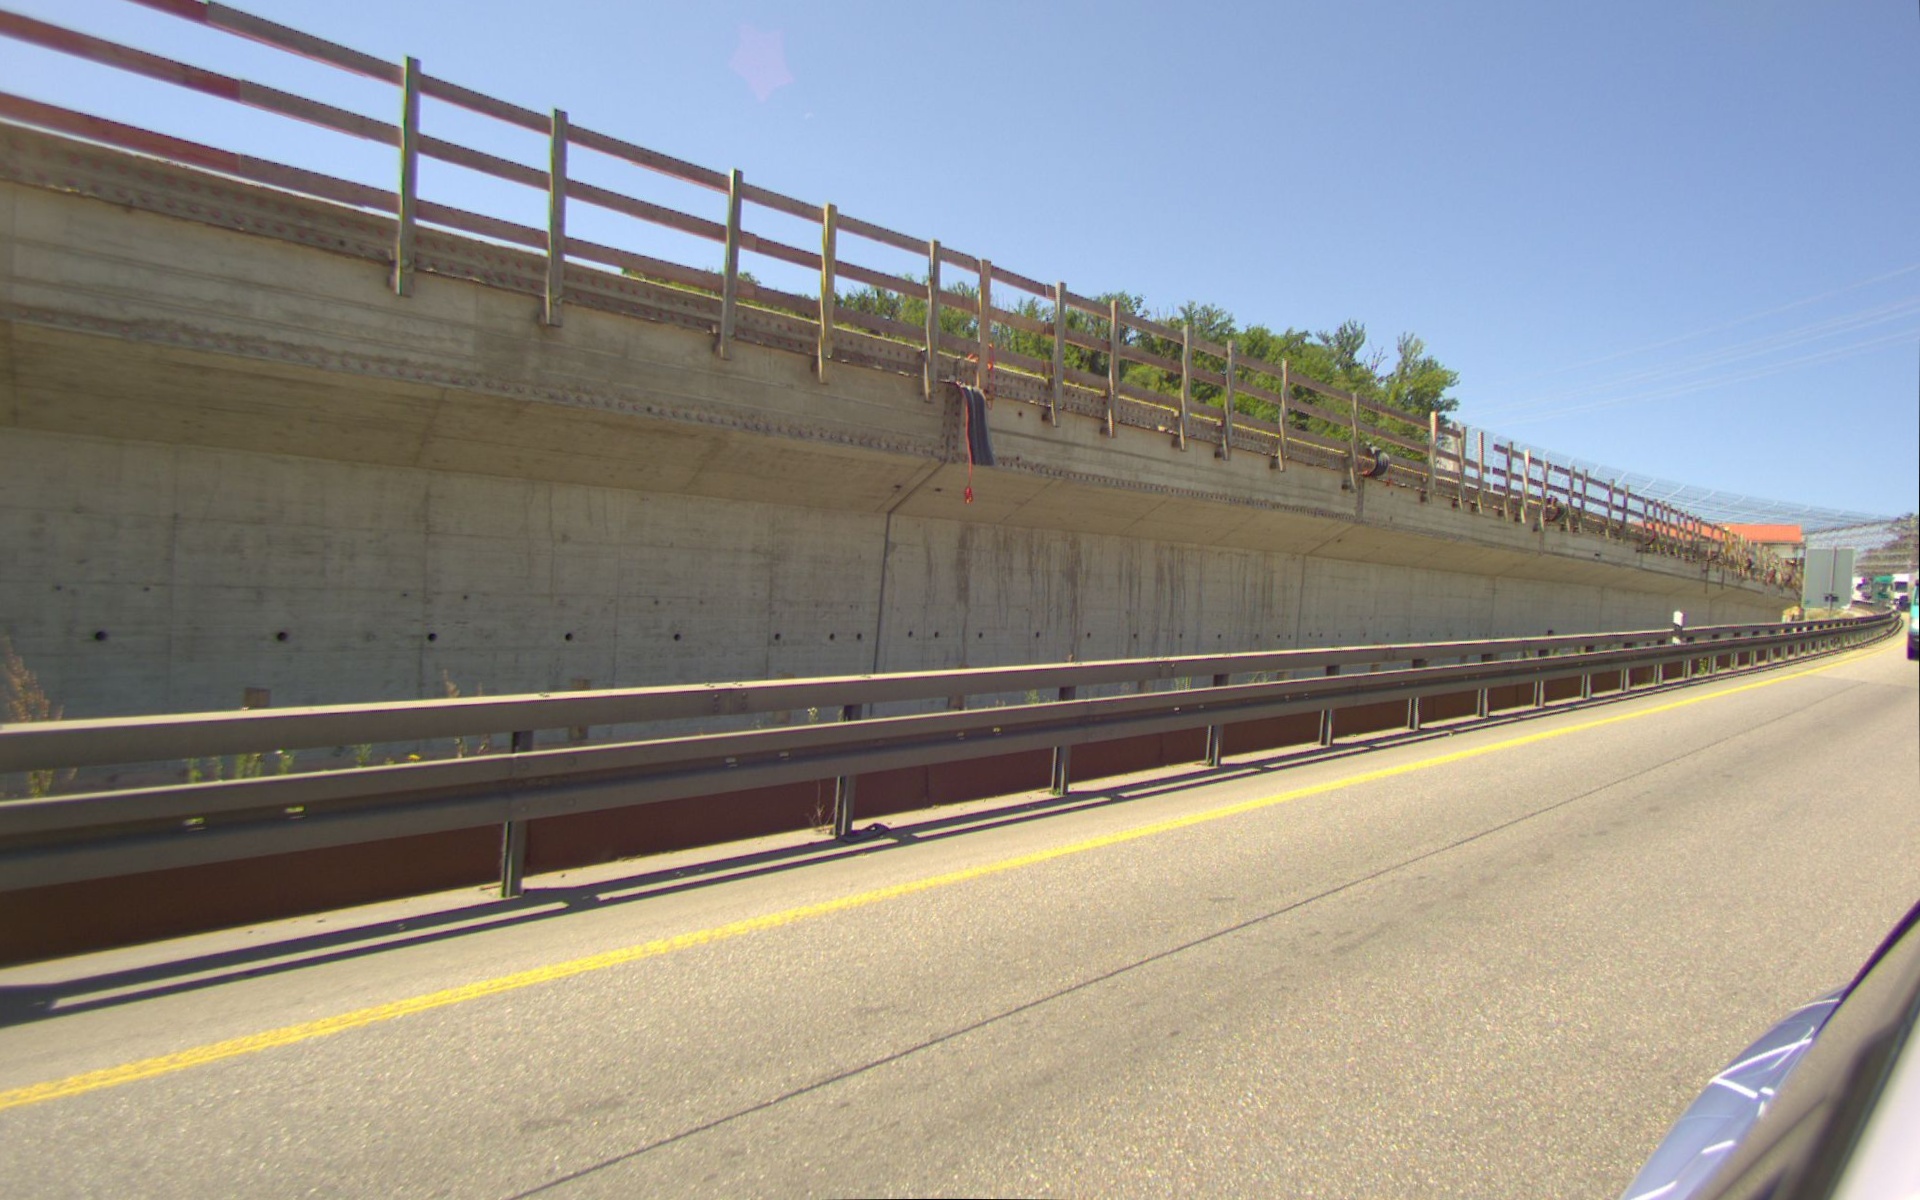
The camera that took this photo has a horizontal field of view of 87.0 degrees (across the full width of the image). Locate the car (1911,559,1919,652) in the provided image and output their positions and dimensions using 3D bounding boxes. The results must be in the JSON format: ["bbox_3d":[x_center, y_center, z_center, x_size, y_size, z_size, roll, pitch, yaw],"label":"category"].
[{"bbox_3d":[27.284,0.123,27.197,6.789,2.355,2.213,-1,2,-44],"label":"car"}]
